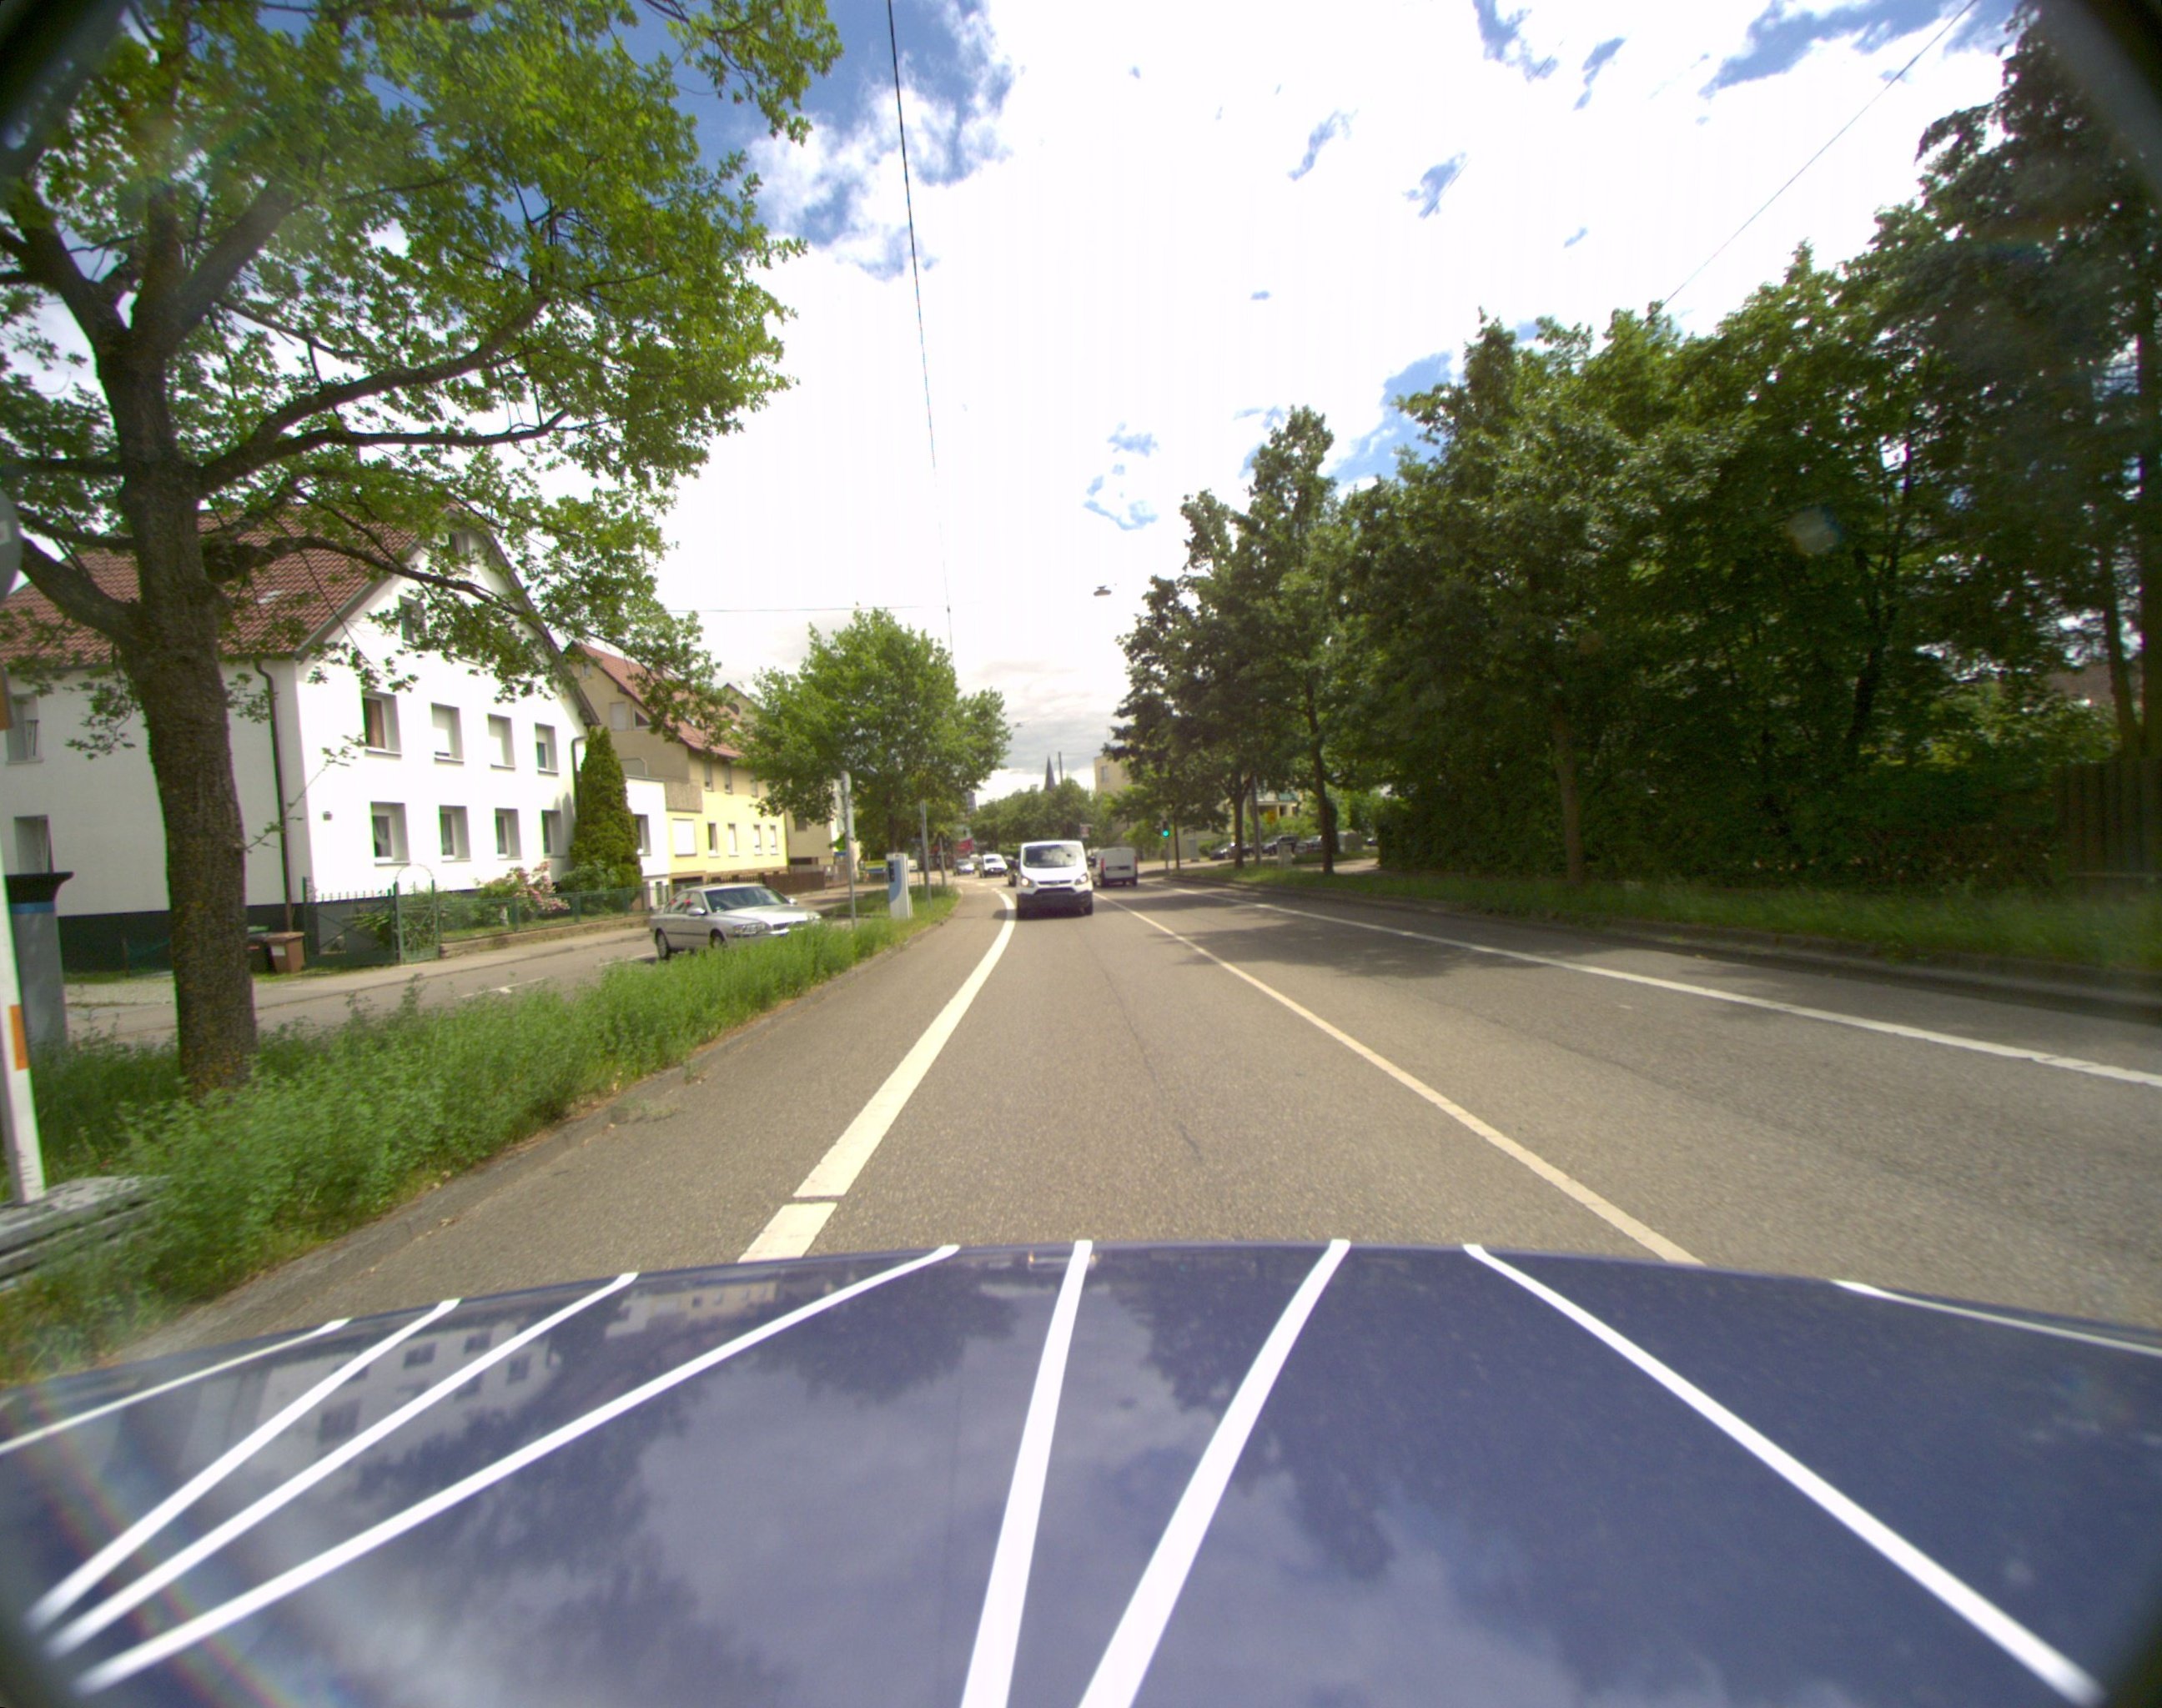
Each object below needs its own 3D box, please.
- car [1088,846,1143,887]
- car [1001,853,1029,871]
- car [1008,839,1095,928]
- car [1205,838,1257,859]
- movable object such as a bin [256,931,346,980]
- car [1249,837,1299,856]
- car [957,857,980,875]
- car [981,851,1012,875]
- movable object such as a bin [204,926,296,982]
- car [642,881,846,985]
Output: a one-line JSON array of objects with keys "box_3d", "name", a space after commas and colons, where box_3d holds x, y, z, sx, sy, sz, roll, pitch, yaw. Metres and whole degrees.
[{"box_3d": [1.592, 0.572, 36.804, 1.829, 1.772, 4.621, -3, 1, -7], "name": "car"}, {"box_3d": [-6.838, 0.789, 78.338, 2.001, 1.719, 4.098, -4, 1, -15], "name": "car"}, {"box_3d": [-0.690, 0.666, 21.386, 1.998, 2.002, 5.511, -4, 2, 1], "name": "car"}, {"box_3d": [12.986, -0.468, 65.841, 4.005, 1.499, 1.996, -4, 1, -29], "name": "car"}, {"box_3d": [-17.766, 2.303, 17.328, 1.121, 0.935, 0.823, -3, 1, 1], "name": "movable object such as a bin"}, {"box_3d": [17.344, -0.662, 68.352, 4.005, 1.499, 1.996, -4, 1, -27], "name": "car"}, {"box_3d": [-11.086, 1.166, 74.994, 2.000, 1.652, 3.997, -3, 1, -7], "name": "car"}, {"box_3d": [-6.821, 0.672, 60.748, 2.000, 1.719, 4.099, -4, 1, -12], "name": "car"}, {"box_3d": [-18.914, 2.261, 17.318, 1.121, 1.113, 0.823, -3, 1, 1], "name": "movable object such as a bin"}, {"box_3d": [-6.597, 1.375, 14.658, 4.295, 1.569, 2.004, -2, 1, 43], "name": "car"}]
